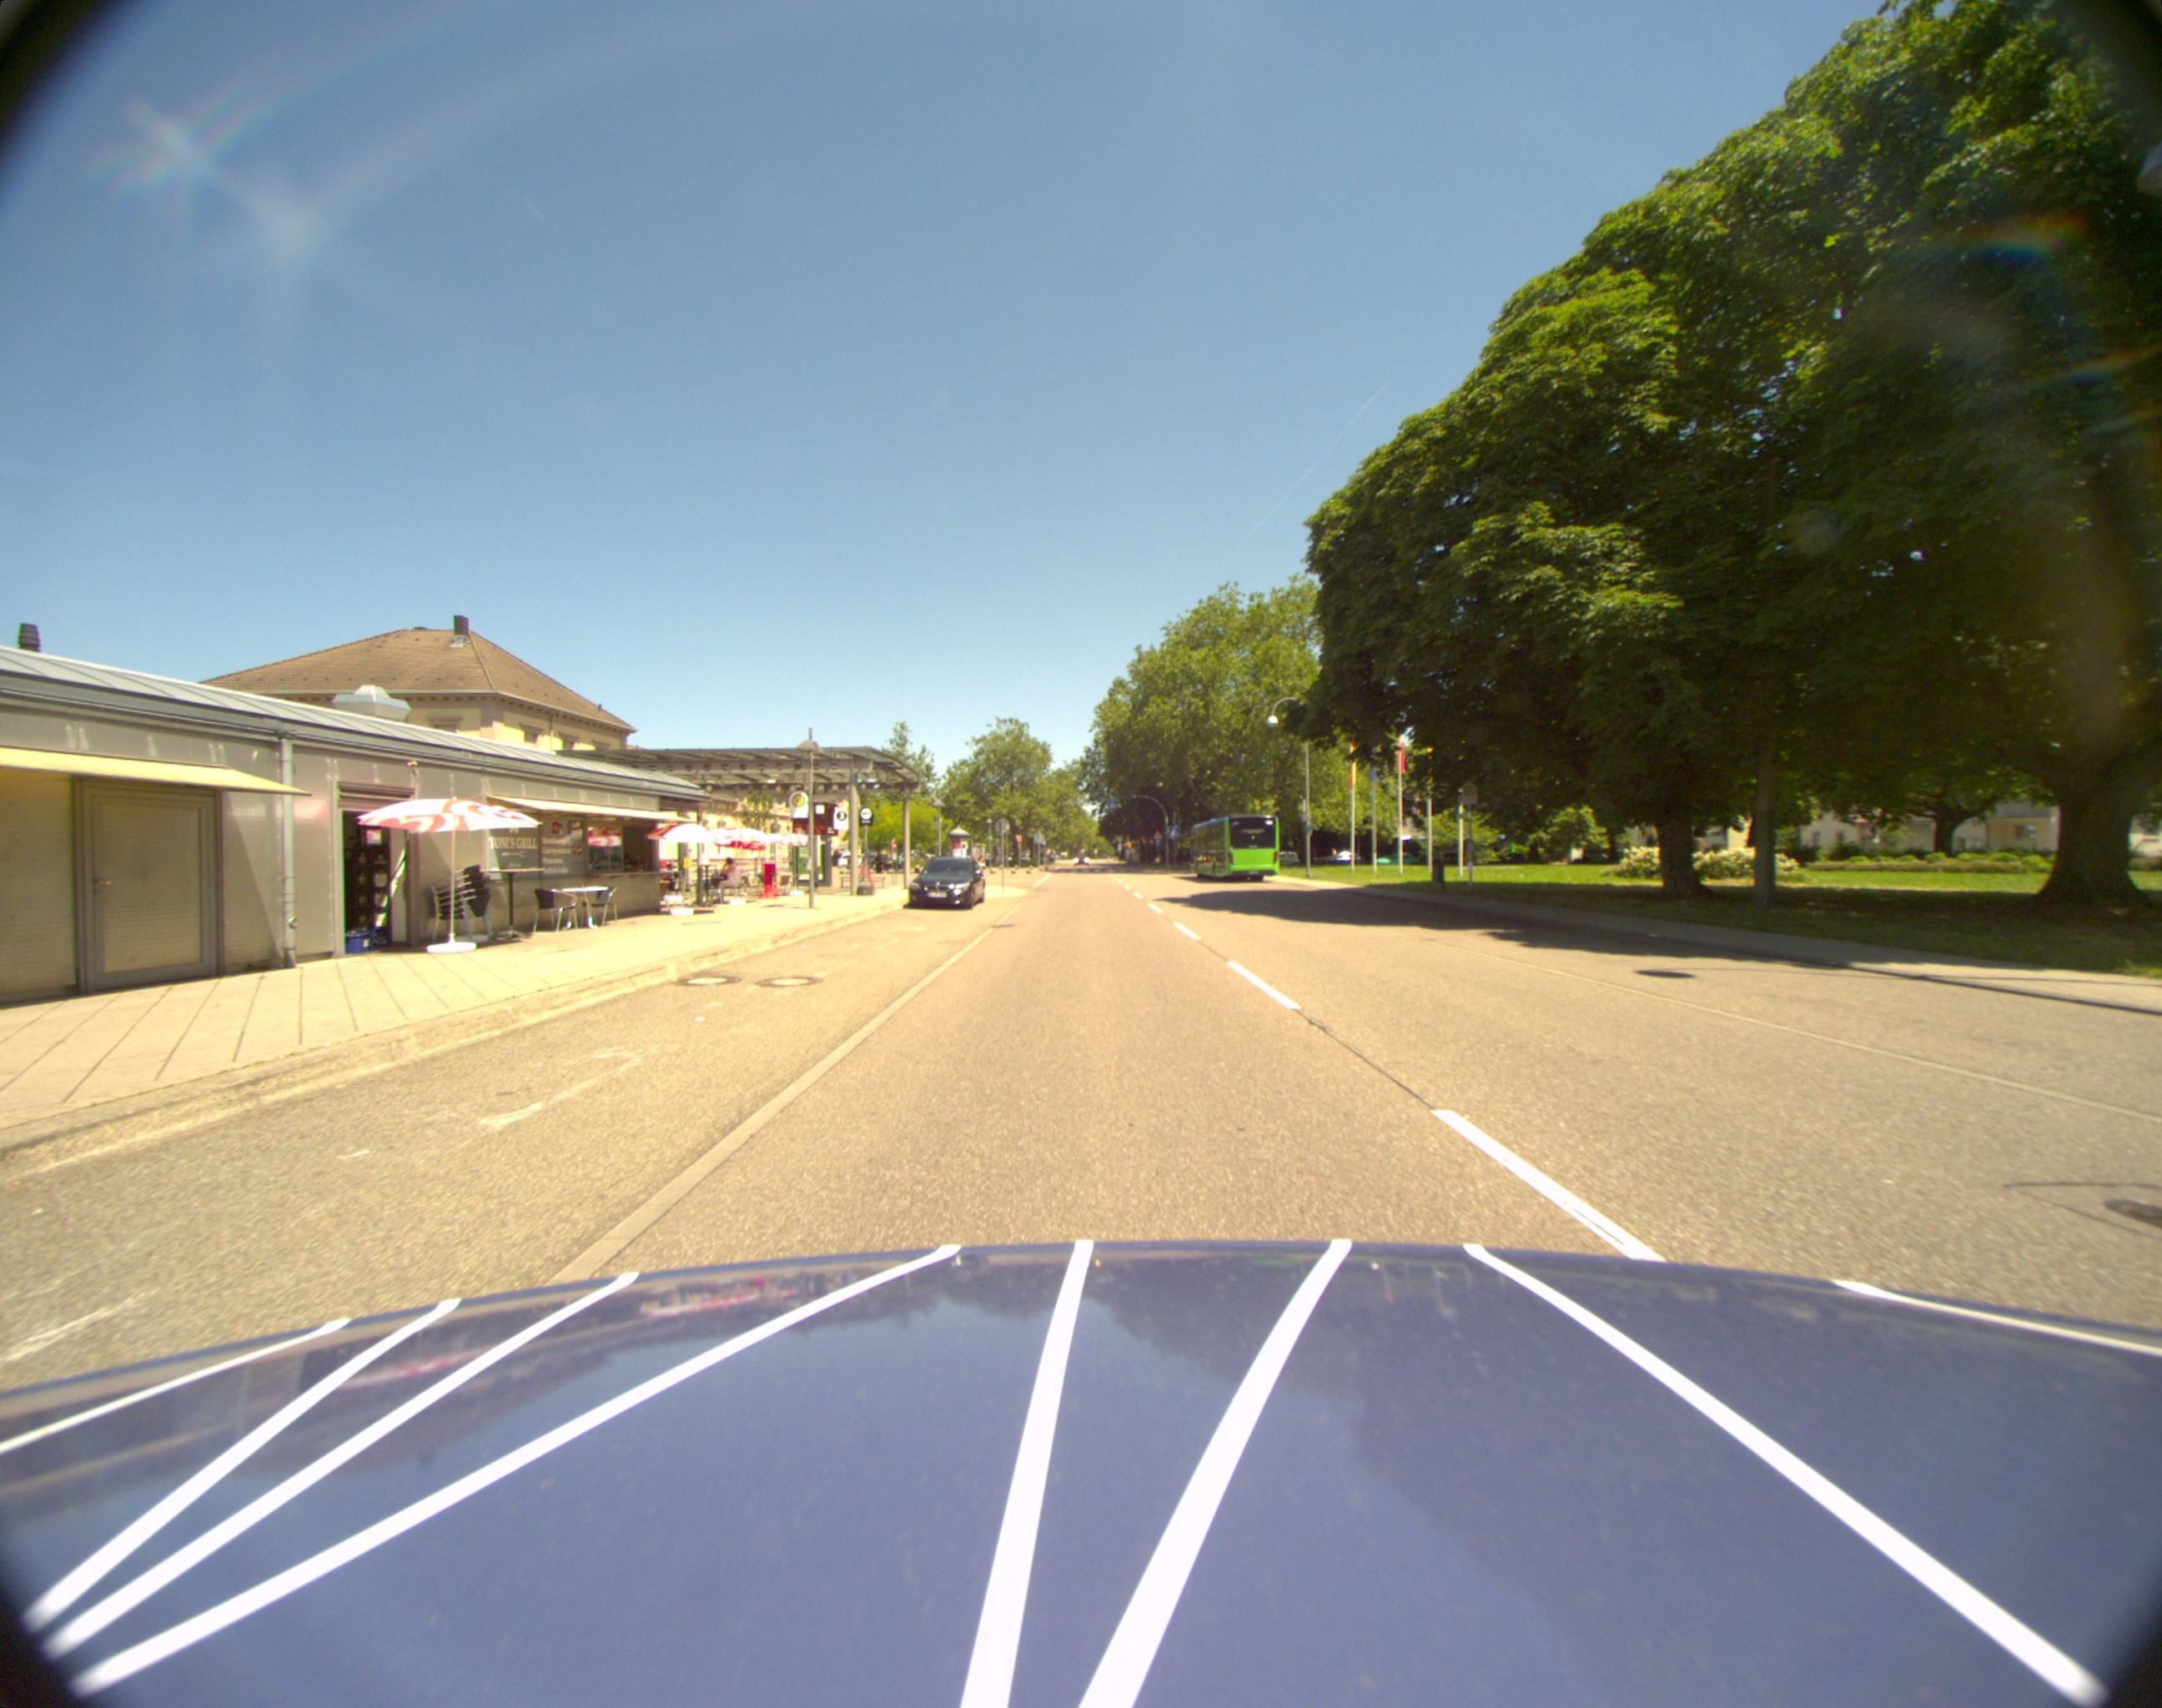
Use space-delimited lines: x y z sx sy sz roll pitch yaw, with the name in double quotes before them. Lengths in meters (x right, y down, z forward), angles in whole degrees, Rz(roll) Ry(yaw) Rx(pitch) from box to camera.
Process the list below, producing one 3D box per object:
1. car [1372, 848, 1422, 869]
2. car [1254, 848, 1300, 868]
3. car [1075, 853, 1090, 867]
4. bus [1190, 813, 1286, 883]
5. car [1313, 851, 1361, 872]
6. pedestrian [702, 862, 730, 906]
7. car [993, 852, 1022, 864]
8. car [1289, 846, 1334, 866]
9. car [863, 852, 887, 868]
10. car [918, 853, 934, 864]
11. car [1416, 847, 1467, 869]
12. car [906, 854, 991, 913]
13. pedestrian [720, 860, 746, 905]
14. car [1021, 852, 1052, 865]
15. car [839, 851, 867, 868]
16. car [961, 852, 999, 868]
"car" 30.588 0.444 73.569 3.997 2.002 2.000 -1 1 0
"car" 19.106 0.381 74.122 3.996 1.793 2.000 -1 1 3
"car" 0.224 0.708 91.371 1.778 1.536 4.183 1 1 1
"bus" 8.232 -0.322 41.646 2.814 3.283 11.856 -1 0 0
"car" 24.707 0.698 73.401 3.996 2.002 2.000 -1 1 3
"pedestrian" -10.183 0.830 21.204 0.489 1.204 0.472 -1 1 7
"car" -10.378 0.609 107.656 3.999 1.655 1.999 -1 1 -6
"car" 23.999 0.186 79.152 3.988 2.002 2.004 0 1 36
"car" -26.322 0.751 97.167 1.998 2.002 4.000 -1 1 1
"car" -28.489 0.807 140.037 1.998 2.002 4.000 -1 1 1
"car" 34.948 0.355 73.662 3.997 2.002 2.000 -1 1 0
"car" -3.892 0.809 22.987 1.778 1.536 4.183 1 1 1
"pedestrian" -9.797 0.800 21.411 0.504 1.225 0.513 -1 1 -5
"car" -6.057 0.570 103.291 3.999 1.655 1.999 -1 1 -6
"car" -26.790 0.660 89.253 1.998 1.869 4.000 -1 1 1
"car" -11.180 0.636 84.262 3.998 1.655 1.999 -1 1 -3
